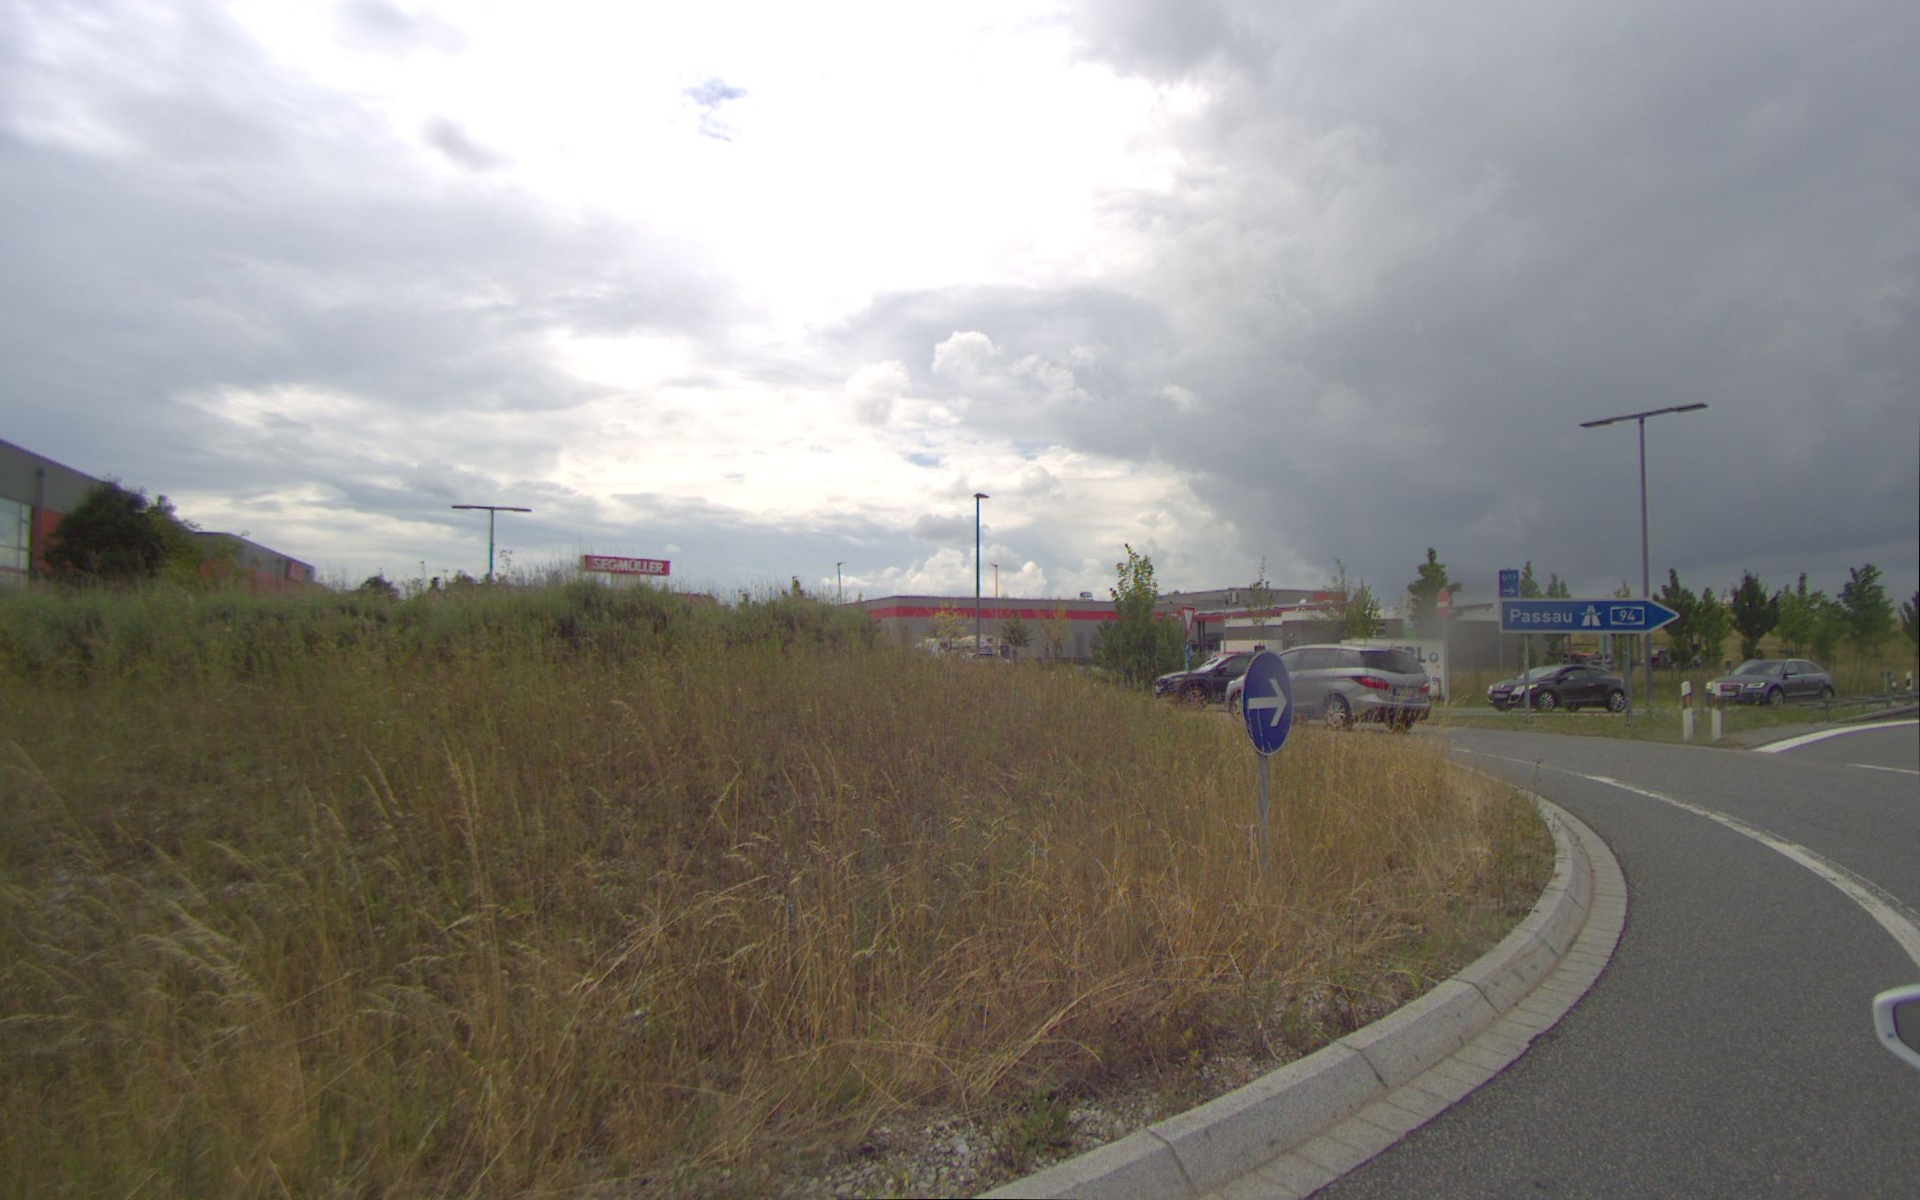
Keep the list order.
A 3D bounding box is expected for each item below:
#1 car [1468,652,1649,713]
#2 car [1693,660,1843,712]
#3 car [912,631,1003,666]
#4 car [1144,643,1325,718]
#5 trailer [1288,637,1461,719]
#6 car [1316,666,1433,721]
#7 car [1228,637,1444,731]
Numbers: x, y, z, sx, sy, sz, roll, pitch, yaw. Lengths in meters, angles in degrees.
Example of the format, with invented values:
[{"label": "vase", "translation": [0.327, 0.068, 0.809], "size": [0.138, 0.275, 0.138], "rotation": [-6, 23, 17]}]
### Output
[{"label": "car", "translation": [18.061, 2.504, 30.409], "size": [4.511, 1.705, 1.997], "rotation": [2, -4, -11]}, {"label": "car", "translation": [25.965, 2.755, 32.280], "size": [4.475, 1.511, 1.728], "rotation": [2, -2, -21]}, {"label": "car", "translation": [-0.202, 4.284, 87.909], "size": [7.590, 2.857, 2.454], "rotation": [3, -2, -27]}, {"label": "car", "translation": [7.899, 2.302, 29.174], "size": [4.595, 1.783, 1.998], "rotation": [3, 1, -6]}, {"label": "trailer", "translation": [12.270, 2.286, 29.886], "size": [4.288, 2.213, 1.999], "rotation": [2, -2, -4]}, {"label": "car", "translation": [15.334, 3.426, 37.307], "size": [3.922, 1.773, 1.656], "rotation": [1, -2, 22]}, {"label": "car", "translation": [7.246, 1.558, 19.801], "size": [1.719, 1.620, 3.975], "rotation": [1, -2, -24]}]
